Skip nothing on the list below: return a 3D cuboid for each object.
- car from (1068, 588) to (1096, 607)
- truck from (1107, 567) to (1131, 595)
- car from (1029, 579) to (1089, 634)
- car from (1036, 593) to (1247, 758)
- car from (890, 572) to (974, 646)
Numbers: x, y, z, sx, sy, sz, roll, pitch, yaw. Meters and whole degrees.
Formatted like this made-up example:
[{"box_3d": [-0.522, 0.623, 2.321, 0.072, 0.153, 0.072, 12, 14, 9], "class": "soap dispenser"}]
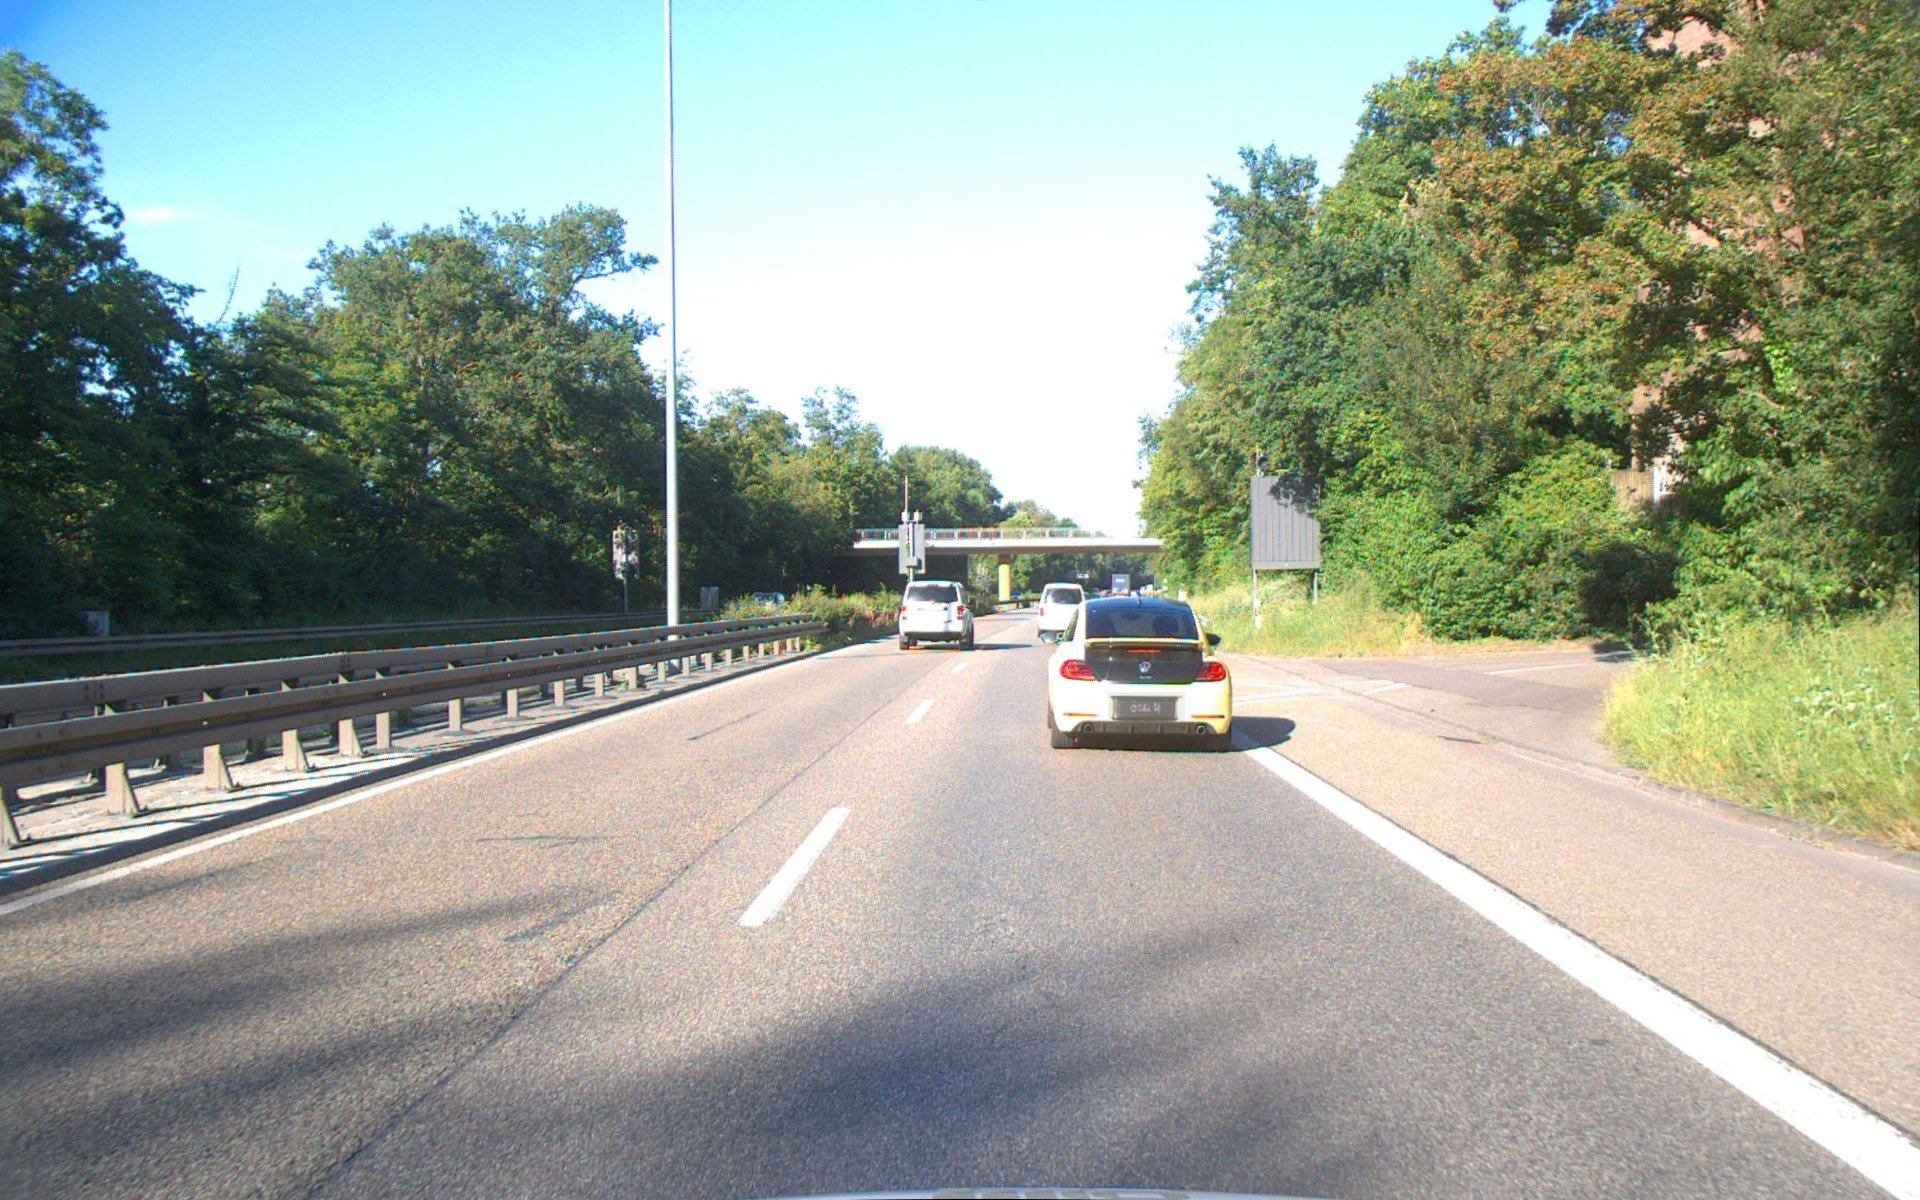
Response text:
[{"box_3d": [9.332, -0.199, 126.018, 1.951, 1.422, 4.003, -1, 0, 7], "class": "car"}, {"box_3d": [24.317, -2.880, 253.075, 3.421, 4.245, 8.868, -1, 0, 7], "class": "truck"}, {"box_3d": [3.387, 0.207, 57.440, 1.825, 1.801, 4.470, -1, 0, 0], "class": "car"}, {"box_3d": [1.779, 0.689, 17.484, 1.840, 1.487, 4.357, 1, 0, 2], "class": "car"}, {"box_3d": [-0.702, 0.218, 44.188, 2.042, 1.860, 4.001, 1, 0, 1], "class": "car"}]
